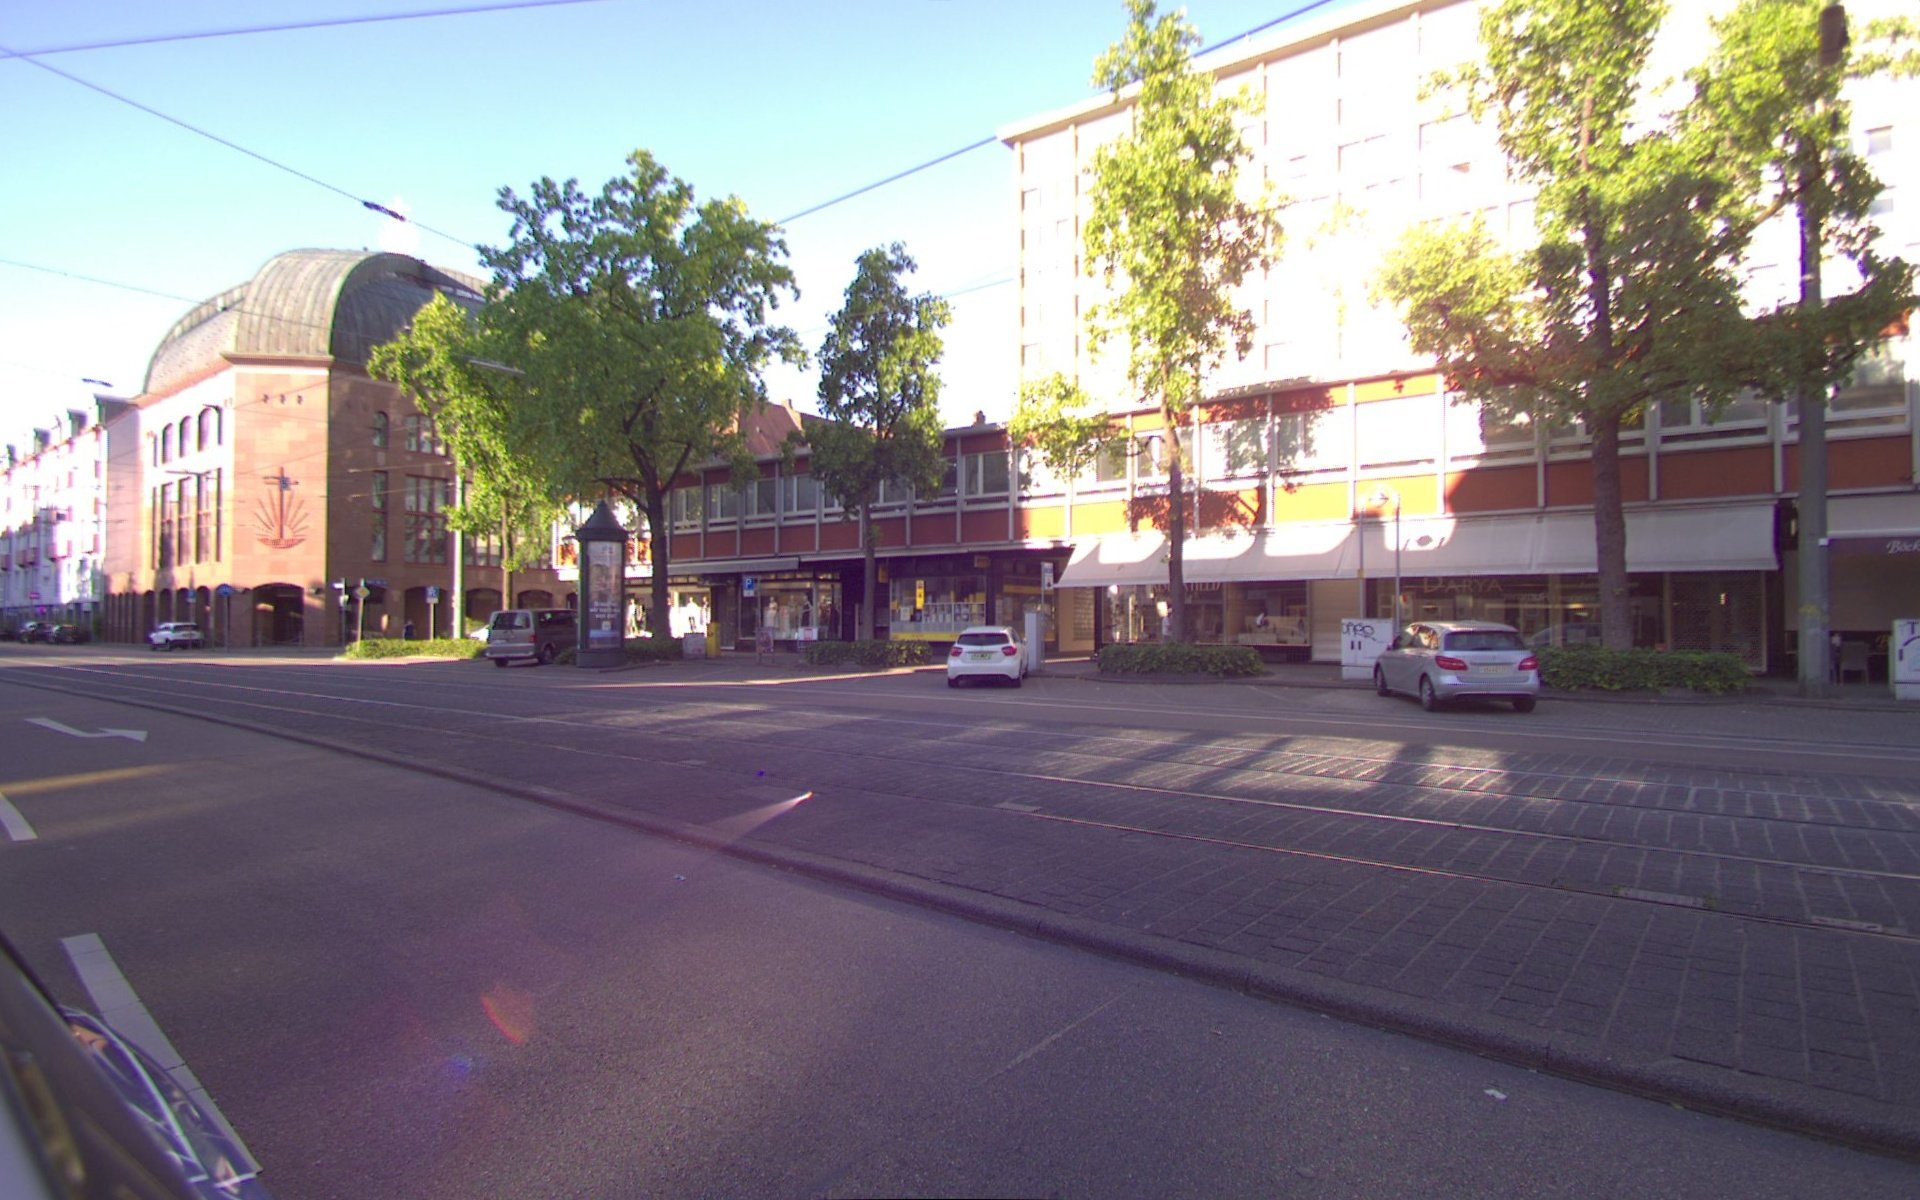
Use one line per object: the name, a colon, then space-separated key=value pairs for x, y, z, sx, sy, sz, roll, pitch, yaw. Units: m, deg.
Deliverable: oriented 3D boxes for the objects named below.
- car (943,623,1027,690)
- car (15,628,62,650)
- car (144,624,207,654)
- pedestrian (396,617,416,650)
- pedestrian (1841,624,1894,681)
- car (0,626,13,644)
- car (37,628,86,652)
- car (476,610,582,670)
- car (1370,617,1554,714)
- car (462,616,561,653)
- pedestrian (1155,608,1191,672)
car: x=0.700 y=1.348 z=25.375 sx=1.776 sy=1.486 sz=3.992 roll=-1 pitch=0 yaw=6
car: x=-71.797 y=2.986 z=78.846 sx=3.992 sy=1.615 sz=1.942 roll=-1 pitch=-1 yaw=36
car: x=-45.300 y=2.235 z=58.424 sx=3.992 sy=1.615 sz=1.888 roll=-1 pitch=-1 yaw=36
pedestrian: x=-30.124 y=1.837 z=55.009 sx=0.548 sy=1.761 sz=0.780 roll=-2 pitch=-2 yaw=41
pedestrian: x=19.283 y=1.100 z=21.523 sx=0.726 sy=1.181 sz=0.770 roll=-1 pitch=-2 yaw=35
car: x=-86.652 y=3.122 z=90.696 sx=3.992 sy=1.615 sz=1.942 roll=-1 pitch=-1 yaw=36
car: x=-66.716 y=2.939 z=75.120 sx=3.992 sy=1.615 sz=1.942 roll=-1 pitch=-1 yaw=36
car: x=-15.103 y=1.355 z=35.702 sx=1.886 sy=1.979 sz=3.996 roll=-1 pitch=0 yaw=3
car: x=9.148 y=1.128 z=18.827 sx=1.776 sy=1.566 sz=3.992 roll=-1 pitch=0 yaw=6
car: x=-25.975 y=1.984 z=58.750 sx=1.996 sy=2.029 sz=4.926 roll=-1 pitch=-2 yaw=36
pedestrian: x=6.065 y=1.130 z=28.803 sx=0.626 sy=1.782 sz=0.770 roll=1 pitch=-1 yaw=-36
